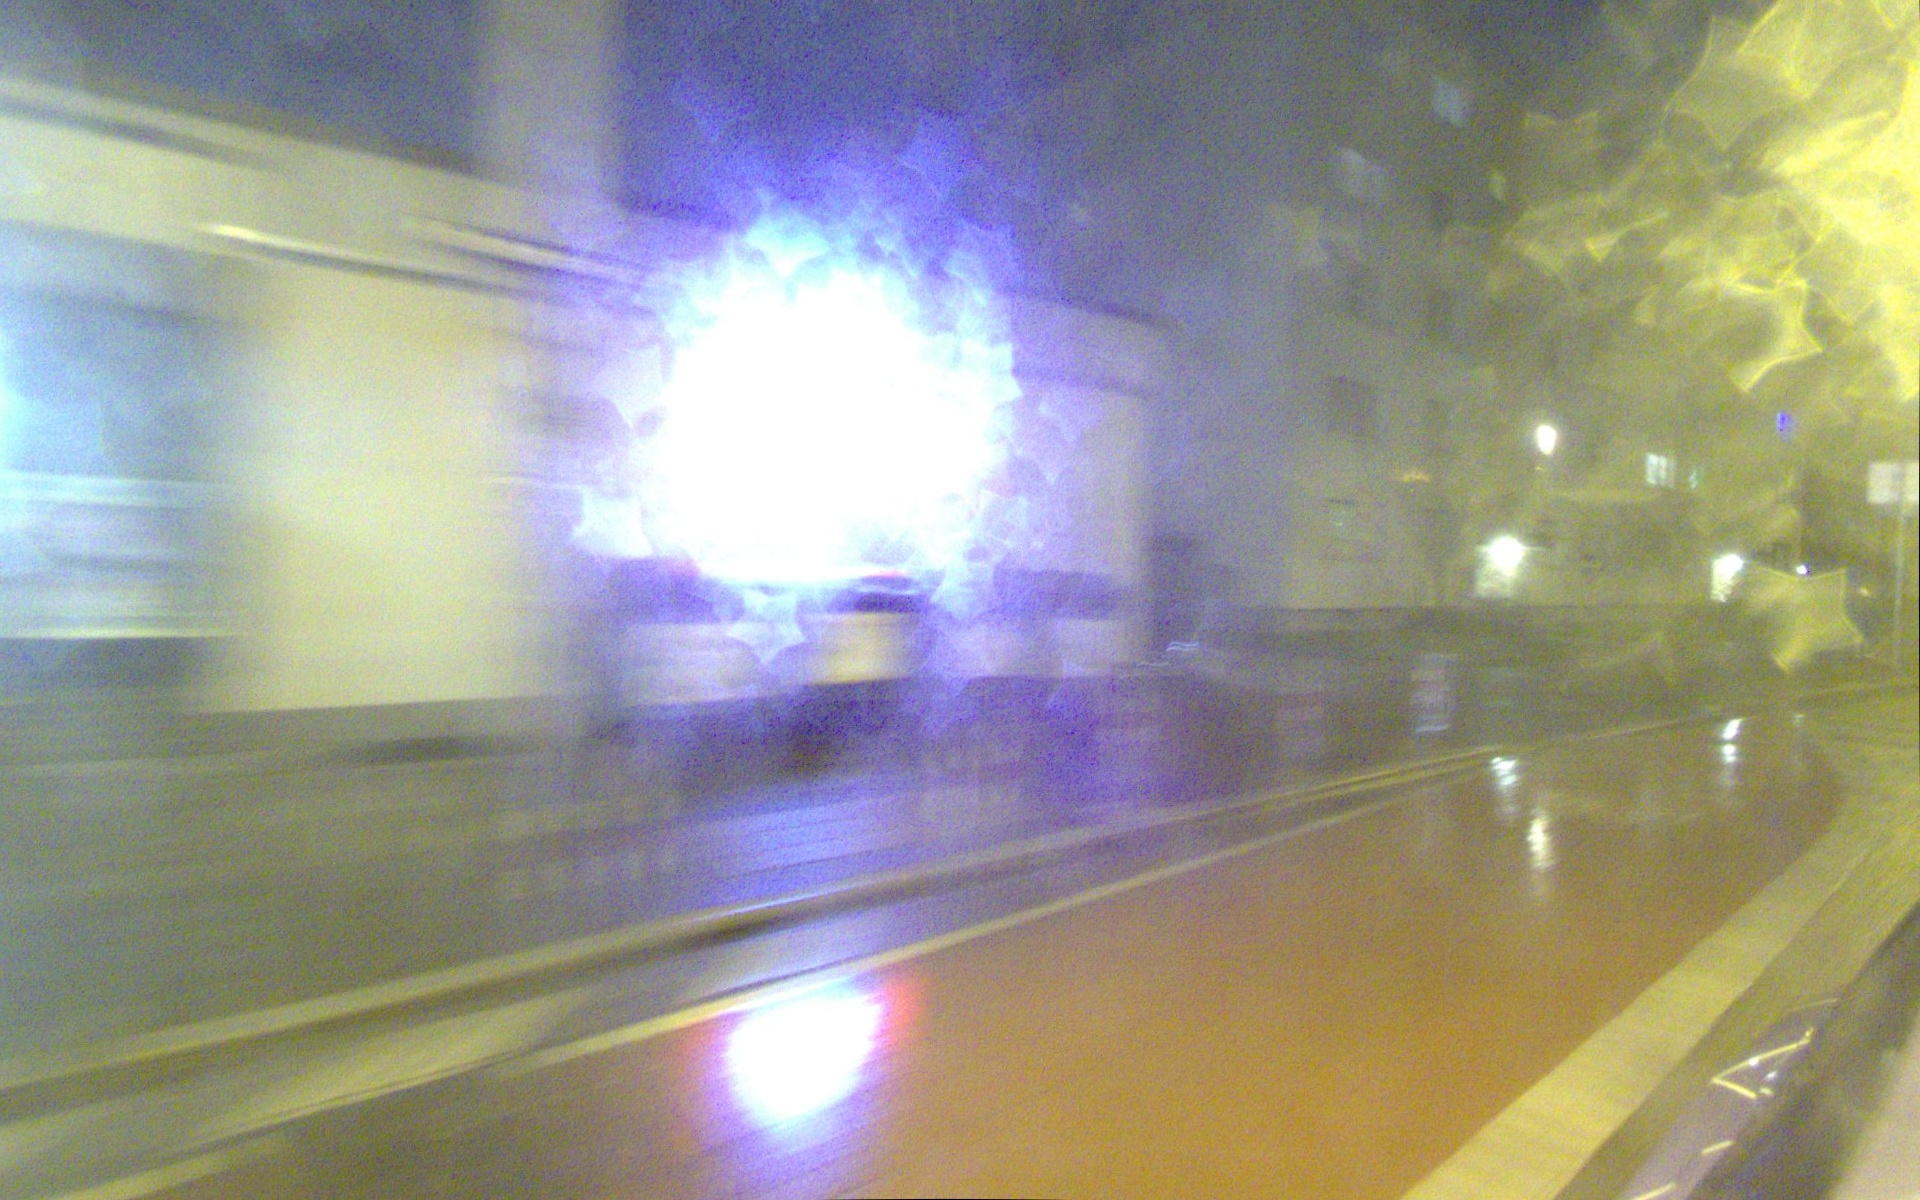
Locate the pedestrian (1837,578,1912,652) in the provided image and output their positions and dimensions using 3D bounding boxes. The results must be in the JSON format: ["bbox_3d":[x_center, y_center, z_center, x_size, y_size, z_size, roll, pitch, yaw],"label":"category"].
[{"bbox_3d":[20.455,0.315,22.641,0.999,1.595,1.053,-1,1,-35],"label":"pedestrian"}]
